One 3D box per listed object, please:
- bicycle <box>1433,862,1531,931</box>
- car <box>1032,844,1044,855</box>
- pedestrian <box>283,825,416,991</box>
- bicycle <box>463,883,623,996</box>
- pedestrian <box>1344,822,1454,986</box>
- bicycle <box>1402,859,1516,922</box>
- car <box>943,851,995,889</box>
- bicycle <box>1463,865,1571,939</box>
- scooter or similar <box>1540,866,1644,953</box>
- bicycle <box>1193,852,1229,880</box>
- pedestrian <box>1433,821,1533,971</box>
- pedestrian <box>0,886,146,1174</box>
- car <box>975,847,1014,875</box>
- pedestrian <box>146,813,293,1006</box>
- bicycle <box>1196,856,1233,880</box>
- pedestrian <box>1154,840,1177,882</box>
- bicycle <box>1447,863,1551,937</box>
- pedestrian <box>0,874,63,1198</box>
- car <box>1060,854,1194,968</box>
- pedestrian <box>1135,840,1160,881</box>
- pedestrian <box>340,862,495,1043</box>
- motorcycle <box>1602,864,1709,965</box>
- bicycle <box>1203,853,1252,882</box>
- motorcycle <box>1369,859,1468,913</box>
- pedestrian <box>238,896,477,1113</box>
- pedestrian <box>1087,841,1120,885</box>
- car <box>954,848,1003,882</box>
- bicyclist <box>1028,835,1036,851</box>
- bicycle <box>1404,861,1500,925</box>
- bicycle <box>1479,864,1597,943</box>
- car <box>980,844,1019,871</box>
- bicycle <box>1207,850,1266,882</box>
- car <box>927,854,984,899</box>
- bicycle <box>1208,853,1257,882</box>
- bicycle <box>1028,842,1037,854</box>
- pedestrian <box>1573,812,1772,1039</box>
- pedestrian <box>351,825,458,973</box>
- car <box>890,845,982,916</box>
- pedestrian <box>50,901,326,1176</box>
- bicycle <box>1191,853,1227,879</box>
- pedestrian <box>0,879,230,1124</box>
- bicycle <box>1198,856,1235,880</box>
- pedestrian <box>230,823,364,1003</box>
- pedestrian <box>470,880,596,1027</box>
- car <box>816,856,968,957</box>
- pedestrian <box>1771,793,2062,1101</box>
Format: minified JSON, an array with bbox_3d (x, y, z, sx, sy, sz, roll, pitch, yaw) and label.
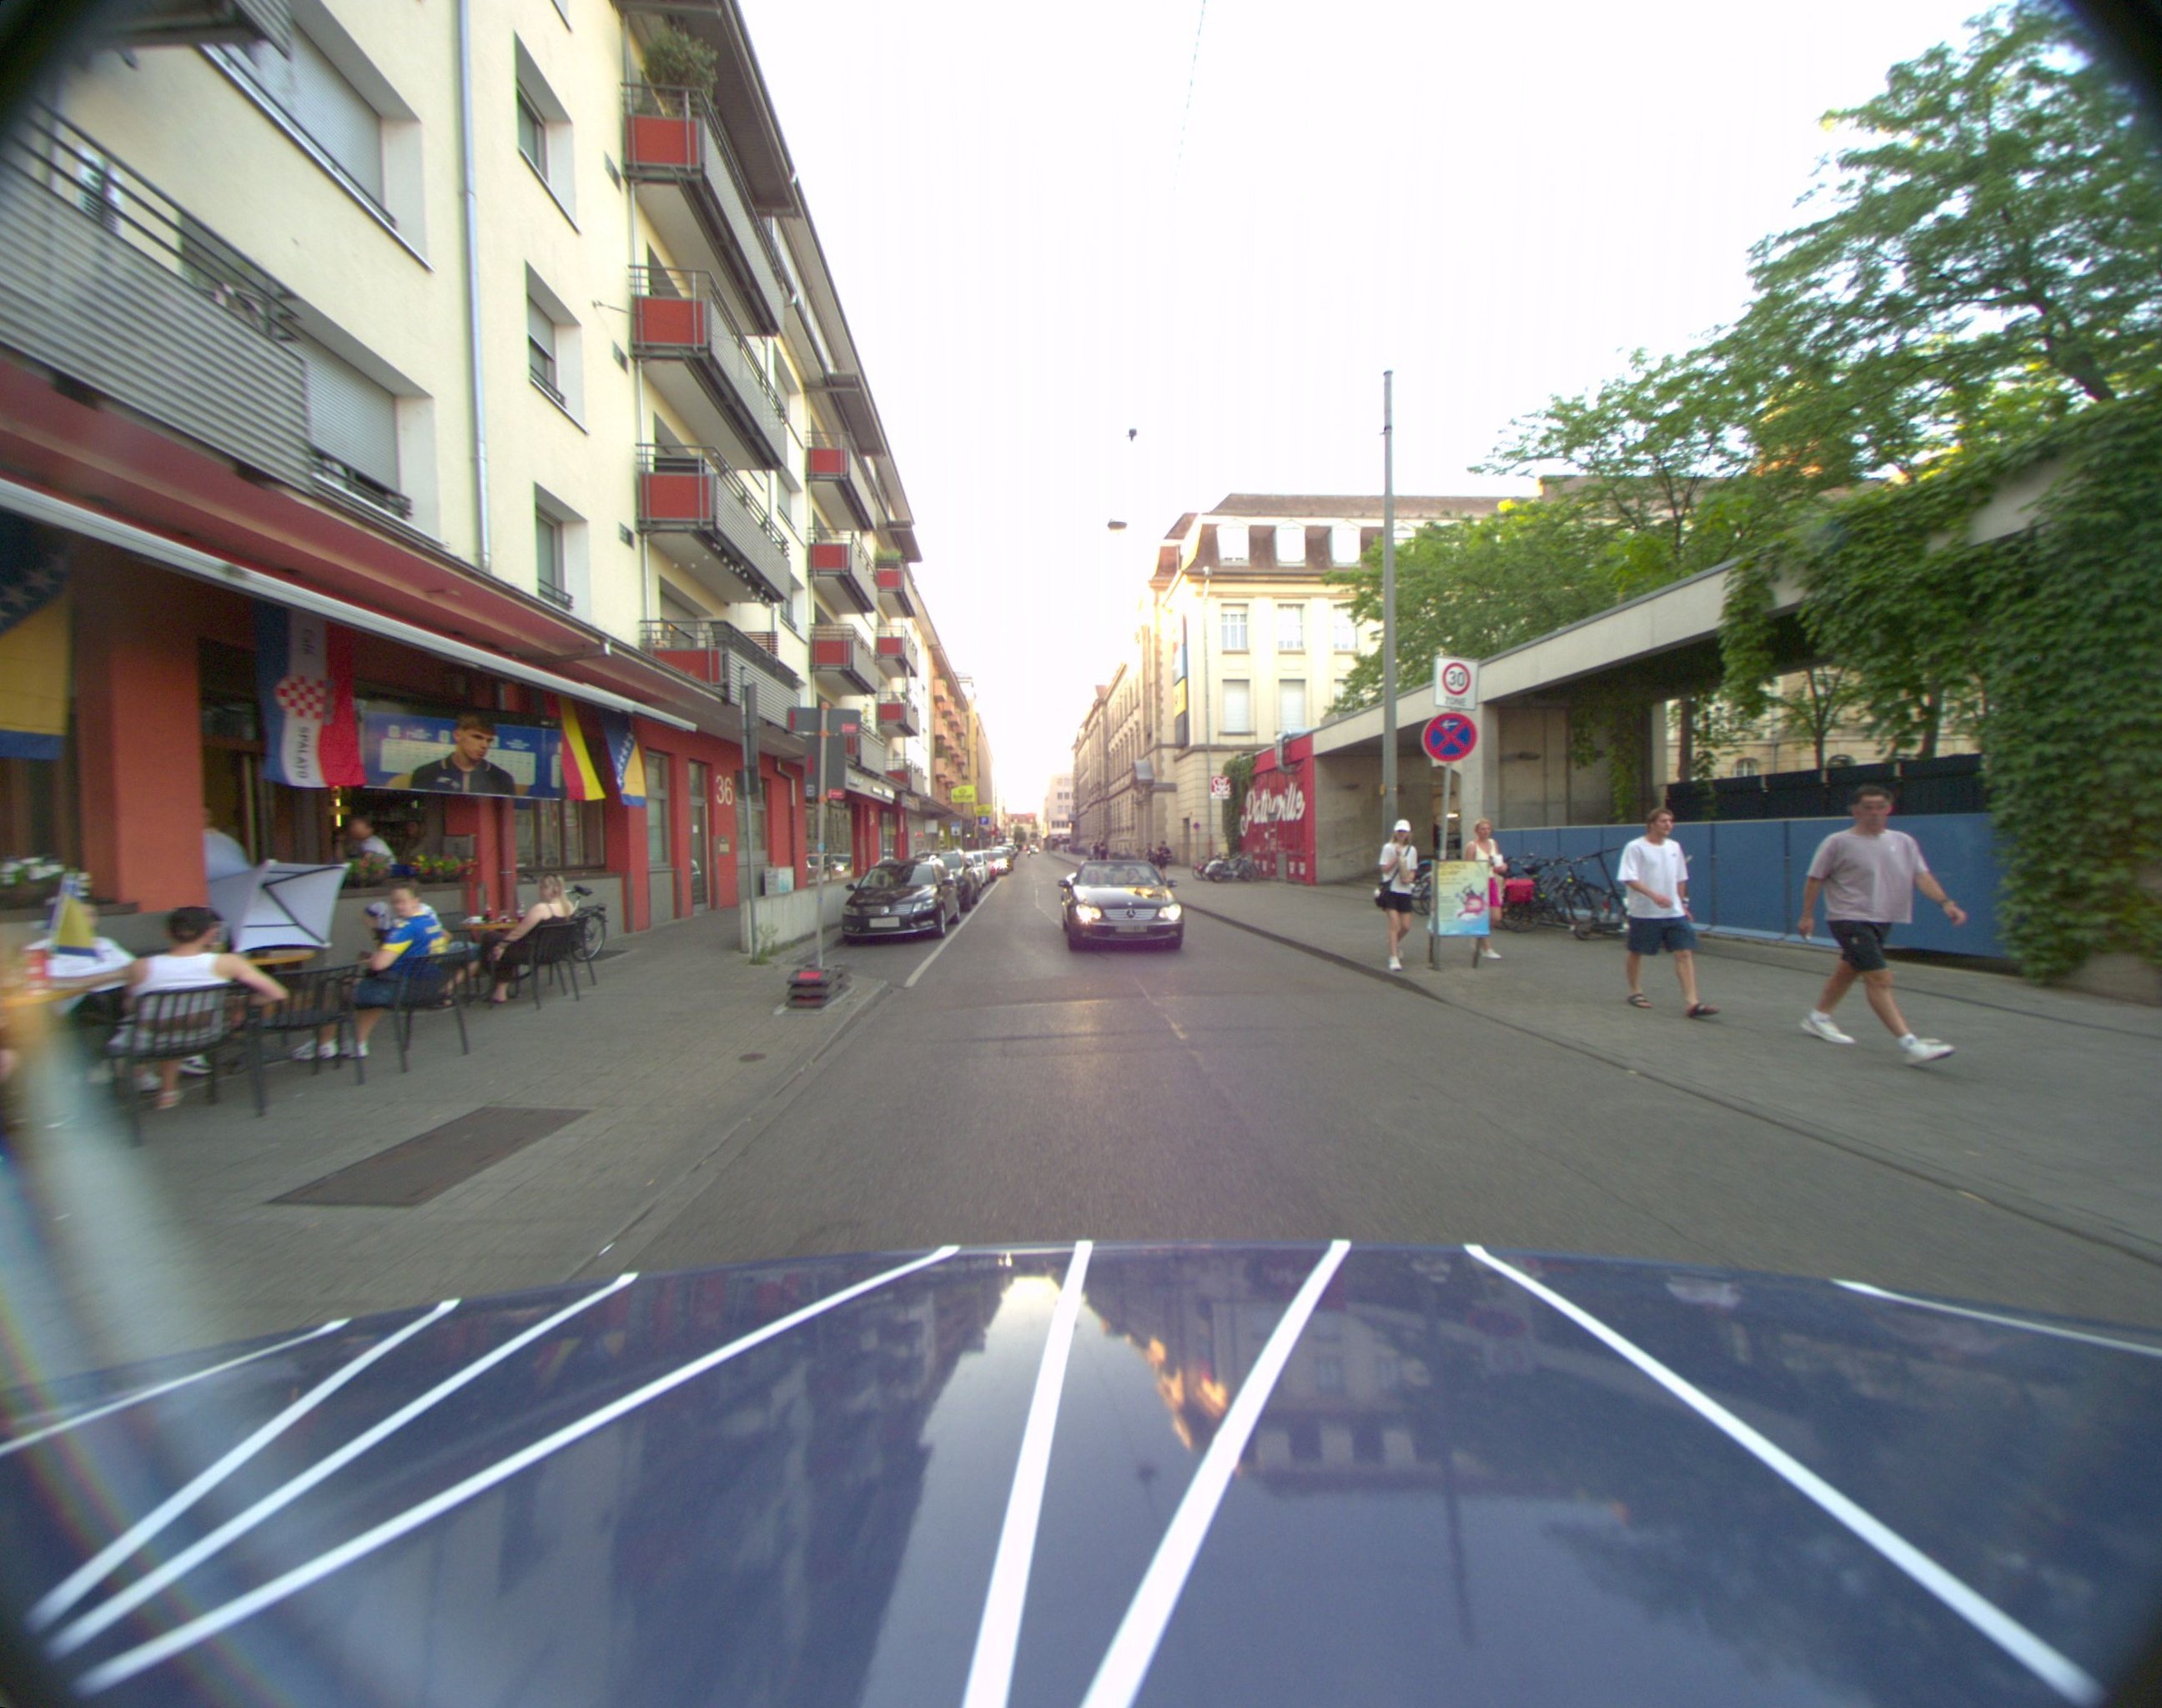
[{"bbox_3d":[6.879,0.717,13.040,1.497,1.082,0.410,-3,1,-7],"label":"bicycle"},{"bbox_3d":[-8.093,-0.802,143.254,1.998,2.002,3.999,-1,1,1],"label":"car"},{"bbox_3d":[-7.952,0.560,8.294,0.718,1.711,0.668,-2,1,-5],"label":"pedestrian"},{"bbox_3d":[-6.356,0.955,9.127,0.550,1.081,2.004,-3,1,-4],"label":"bicycle"},{"bbox_3d":[3.694,0.550,8.887,0.851,1.783,0.869,-2,1,-2],"label":"pedestrian"},{"bbox_3d":[7.159,0.684,14.416,1.872,1.081,0.550,-2,1,-2],"label":"bicycle"},{"bbox_3d":[-4.778,0.640,32.822,1.768,1.468,3.946,-3,1,-3],"label":"car"},{"bbox_3d":[6.882,0.739,12.016,1.497,1.063,0.442,-3,1,-7],"label":"bicycle"},{"bbox_3d":[7.163,0.753,10.640,1.499,1.082,0.410,-3,1,-21],"label":"scooter or similar"},{"bbox_3d":[5.638,0.525,32.890,1.501,1.134,0.312,-3,1,-12],"label":"bicycle"},{"bbox_3d":[5.024,0.504,9.534,0.812,1.783,0.736,-2,1,-2],"label":"pedestrian"},{"bbox_3d":[-5.715,0.897,4.073,0.667,1.426,0.560,0,1,-6],"label":"pedestrian"},{"bbox_3d":[-5.046,0.362,44.925,1.897,1.468,4.299,-2,1,-2],"label":"car"},{"bbox_3d":[-8.262,0.508,7.317,0.612,1.767,0.617,-2,1,-7],"label":"pedestrian"},{"bbox_3d":[5.720,0.603,32.577,1.501,0.973,0.312,-3,1,-12],"label":"bicycle"},{"bbox_3d":[3.515,0.295,31.660,0.833,1.717,0.921,-1,1,3],"label":"pedestrian"},{"bbox_3d":[6.822,0.733,12.410,1.497,1.105,0.410,-3,1,-7],"label":"bicycle"},{"bbox_3d":[-5.555,0.883,3.428,0.853,1.527,0.679,-3,1,-7],"label":"pedestrian"},{"bbox_3d":[0.568,0.770,12.591,1.809,1.400,4.614,0,2,-2],"label":"car"},{"bbox_3d":[2.837,0.276,32.449,0.921,1.717,0.702,-2,1,-9],"label":"pedestrian"},{"bbox_3d":[-6.106,0.857,7.052,0.854,1.527,0.713,-3,1,-26],"label":"pedestrian"},{"bbox_3d":[7.431,0.736,9.805,1.832,1.120,0.535,-3,1,-35],"label":"motorcycle"},{"bbox_3d":[5.857,0.543,30.348,1.844,1.077,0.354,-2,1,2],"label":"bicycle"},{"bbox_3d":[7.035,0.673,15.890,1.824,1.063,0.534,-2,1,25],"label":"motorcycle"},{"bbox_3d":[-5.023,0.983,5.330,0.876,1.298,0.854,1,2,16],"label":"pedestrian"},{"bbox_3d":[0.984,0.369,32.783,1.009,1.816,0.944,-3,1,-27],"label":"pedestrian"},{"bbox_3d":[-4.952,0.511,37.247,1.867,1.468,4.393,-2,1,-2],"label":"car"},{"bbox_3d":[-6.448,-1.439,100.174,1.045,2.002,1.182,-1,2,-2],"label":"bicyclist"},{"bbox_3d":[6.763,0.708,13.875,1.496,1.082,0.436,-2,1,3],"label":"bicycle"},{"bbox_3d":[6.941,0.738,11.553,1.497,1.082,0.547,-3,1,-7],"label":"bicycle"},{"bbox_3d":[-5.397,0.188,50.636,1.998,1.607,4.366,-2,1,1],"label":"car"},{"bbox_3d":[6.044,0.477,29.536,2.180,1.149,0.445,-2,1,2],"label":"bicycle"},{"bbox_3d":[-4.458,0.752,27.449,1.753,1.395,3.964,-3,1,-6],"label":"car"},{"bbox_3d":[5.958,0.533,29.901,1.844,1.077,0.354,-2,2,2],"label":"bicycle"},{"bbox_3d":[-6.400,-0.836,100.345,1.038,1.513,2.821,-1,1,1],"label":"bicycle"},{"bbox_3d":[5.047,0.573,6.547,0.984,1.783,0.890,-2,1,-2],"label":"pedestrian"},{"bbox_3d":[-9.525,0.609,10.731,0.669,2.002,0.815,-1,1,7],"label":"pedestrian"},{"bbox_3d":[-3.861,0.636,20.916,1.884,1.690,4.135,-3,1,-3],"label":"car"},{"bbox_3d":[-4.889,0.956,4.223,0.655,1.337,0.749,1,1,-6],"label":"pedestrian"},{"bbox_3d":[5.598,0.522,33.233,1.501,1.070,0.312,-3,1,-12],"label":"bicycle"},{"bbox_3d":[-6.197,0.897,4.862,0.714,1.413,0.602,-3,1,-5],"label":"pedestrian"},{"bbox_3d":[5.763,0.604,32.268,1.501,0.950,0.312,-3,1,-12],"label":"bicycle"},{"bbox_3d":[-7.866,0.564,7.652,0.612,1.729,0.617,-2,1,-5],"label":"pedestrian"},{"bbox_3d":[-5.317,0.930,7.436,0.854,1.271,0.712,-1,4,-26],"label":"pedestrian"},{"bbox_3d":[-3.498,0.877,15.011,1.879,1.543,4.629,-2,1,-2],"label":"car"},{"bbox_3d":[5.596,0.573,5.160,0.984,1.873,0.890,-2,1,-2],"label":"pedestrian"}]
